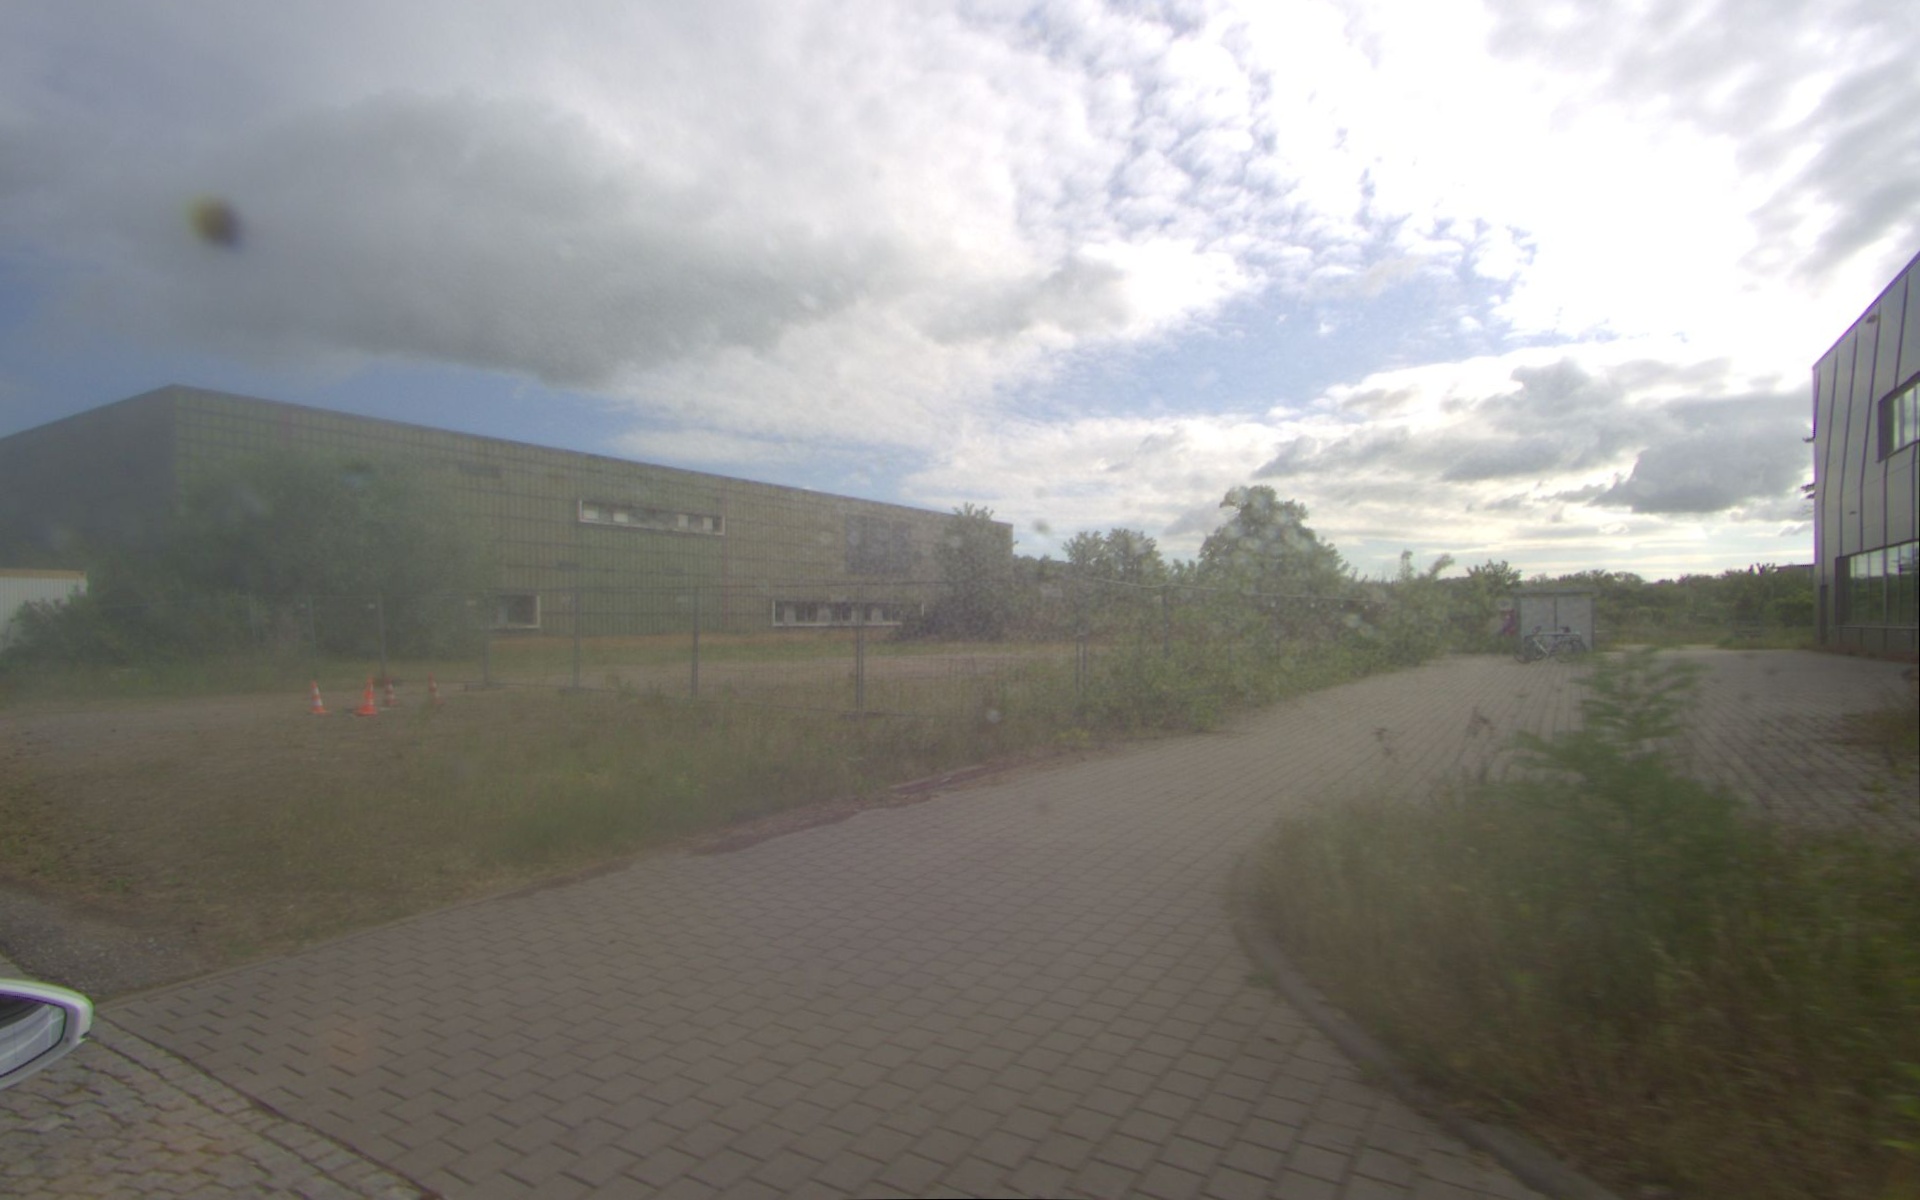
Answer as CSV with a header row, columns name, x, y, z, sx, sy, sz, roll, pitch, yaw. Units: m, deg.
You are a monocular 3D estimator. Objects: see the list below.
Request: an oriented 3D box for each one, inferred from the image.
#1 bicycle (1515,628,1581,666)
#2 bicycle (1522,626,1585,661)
name,x,y,z,sx,sy,sz,roll,pitch,yaw
bicycle,17.568,1.381,29.933,1.638,1.099,0.508,-1,-1,42
bicycle,18.839,1.362,31.803,1.638,1.099,0.508,-1,-1,42
